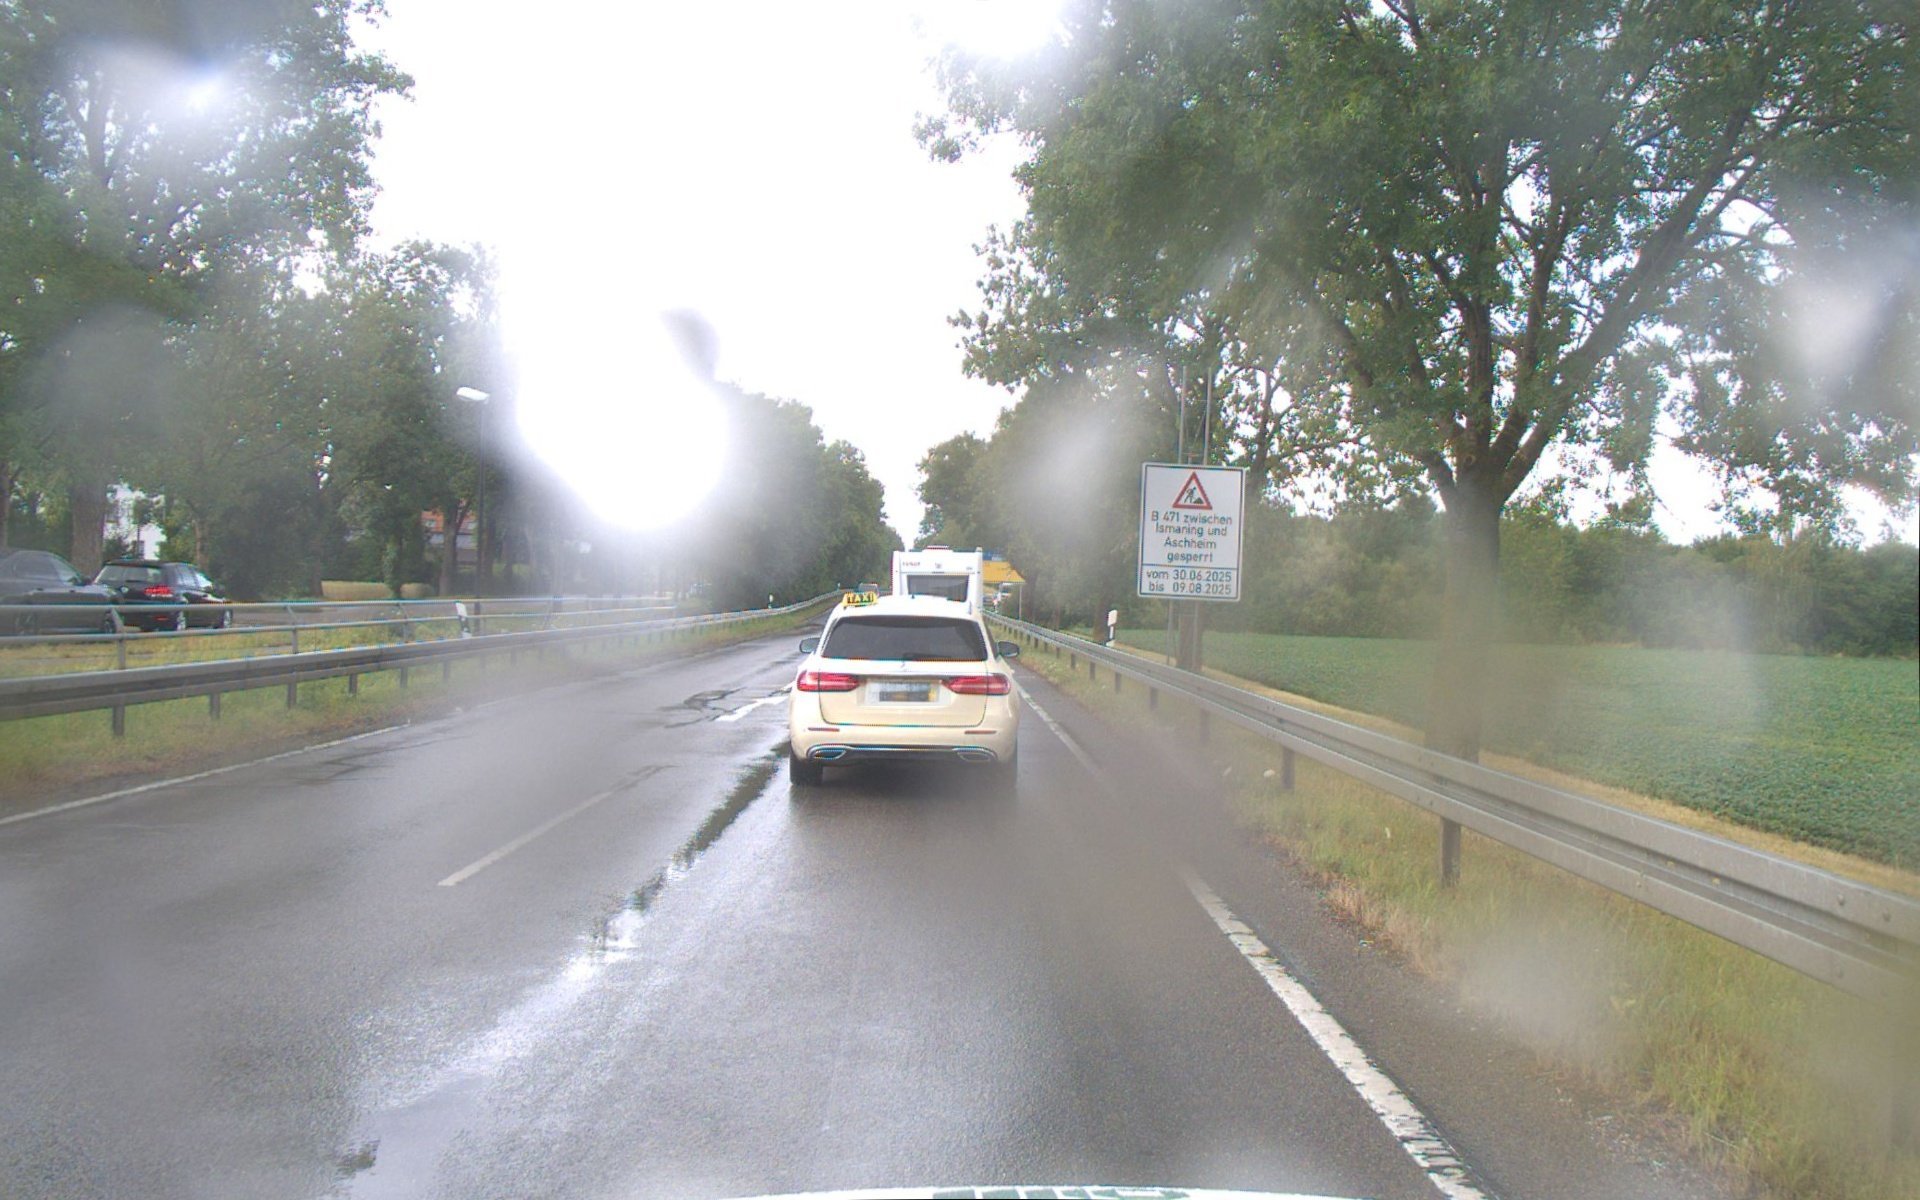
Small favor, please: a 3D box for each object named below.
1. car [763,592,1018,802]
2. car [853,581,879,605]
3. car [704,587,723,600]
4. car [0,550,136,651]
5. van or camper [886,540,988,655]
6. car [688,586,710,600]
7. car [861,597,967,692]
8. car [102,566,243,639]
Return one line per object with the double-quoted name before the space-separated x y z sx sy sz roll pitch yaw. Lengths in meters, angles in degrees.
"car" -0.491 0.693 13.931 1.826 1.502 4.000 0 0 0
"car" -6.766 -0.516 119.172 1.728 1.647 3.999 0 0 -2
"car" -28.825 -0.781 193.525 1.750 1.440 3.998 2 0 -2
"car" -15.310 -0.037 27.023 1.486 1.517 5.116 2 0 -5
"van or camper" -0.542 -0.074 43.093 2.438 2.732 5.700 1 0 0
"car" -28.373 -0.720 179.920 1.749 1.440 4.000 2 0 0
"car" -0.710 0.689 27.600 1.630 1.456 4.000 0 0 0
"car" -15.884 0.033 33.528 1.258 1.354 3.894 2 0 -5
